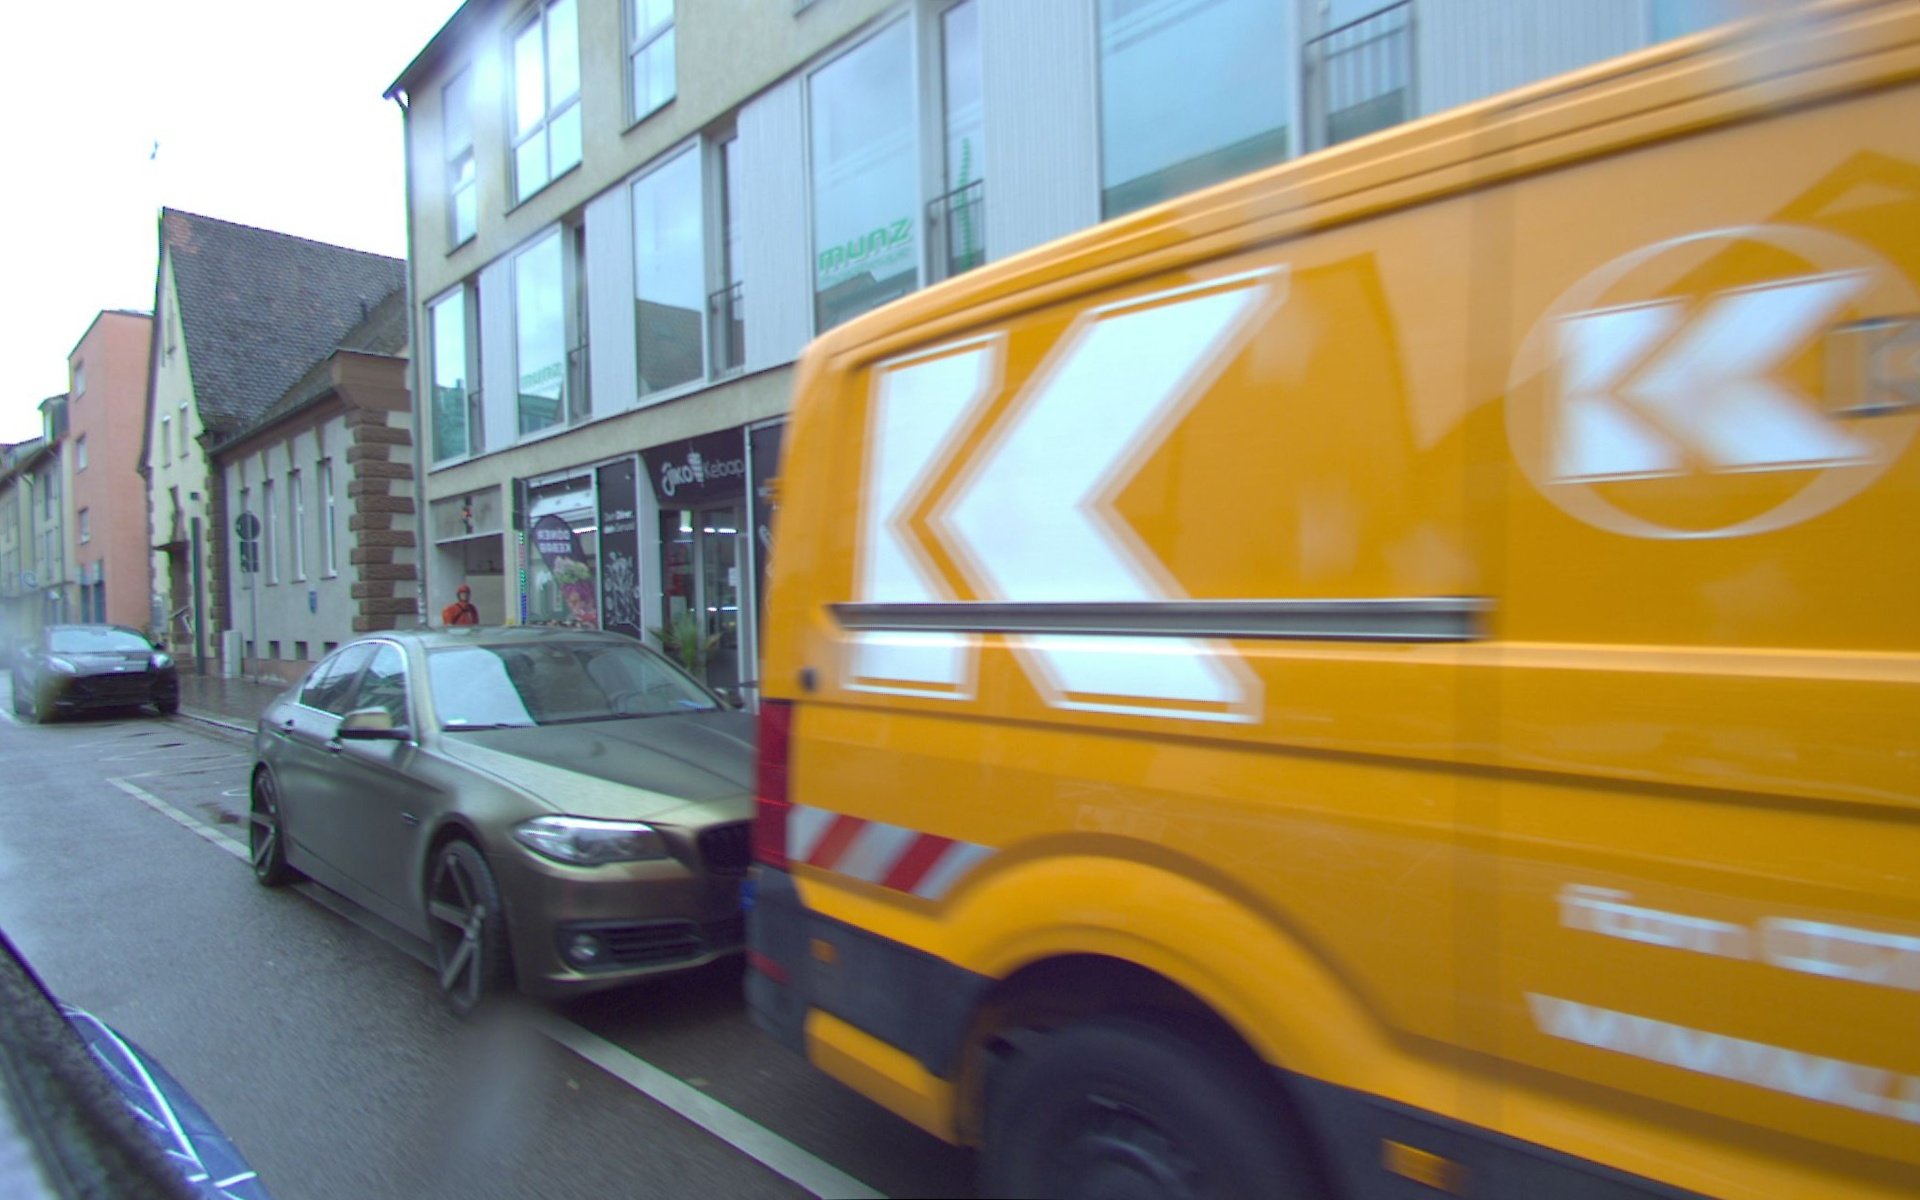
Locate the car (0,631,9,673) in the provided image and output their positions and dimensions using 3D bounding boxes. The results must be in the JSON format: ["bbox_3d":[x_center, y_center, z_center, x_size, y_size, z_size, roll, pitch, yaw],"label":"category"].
[{"bbox_3d":[-33.326,1.788,34.096,3.489,1.377,1.610,-3,-1,43],"label":"car"}]

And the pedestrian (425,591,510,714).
[{"bbox_3d":[-7.565,0.776,15.558,0.994,1.790,0.552,-3,1,-43],"label":"pedestrian"}]

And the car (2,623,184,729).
[{"bbox_3d":[-14.646,1.201,17.035,3.928,1.537,1.717,-2,-1,40],"label":"car"}]

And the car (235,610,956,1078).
[{"bbox_3d":[-2.229,0.808,5.243,4.483,1.366,1.736,-3,-1,45],"label":"car"}]

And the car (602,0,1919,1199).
[{"bbox_3d":[1.887,0.237,1.398,5.860,2.256,1.972,-2,-1,43],"label":"car"}]

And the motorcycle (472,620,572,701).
[{"bbox_3d":[-7.532,1.018,17.447,0.536,1.300,1.490,-2,-1,42],"label":"motorcycle"}]
